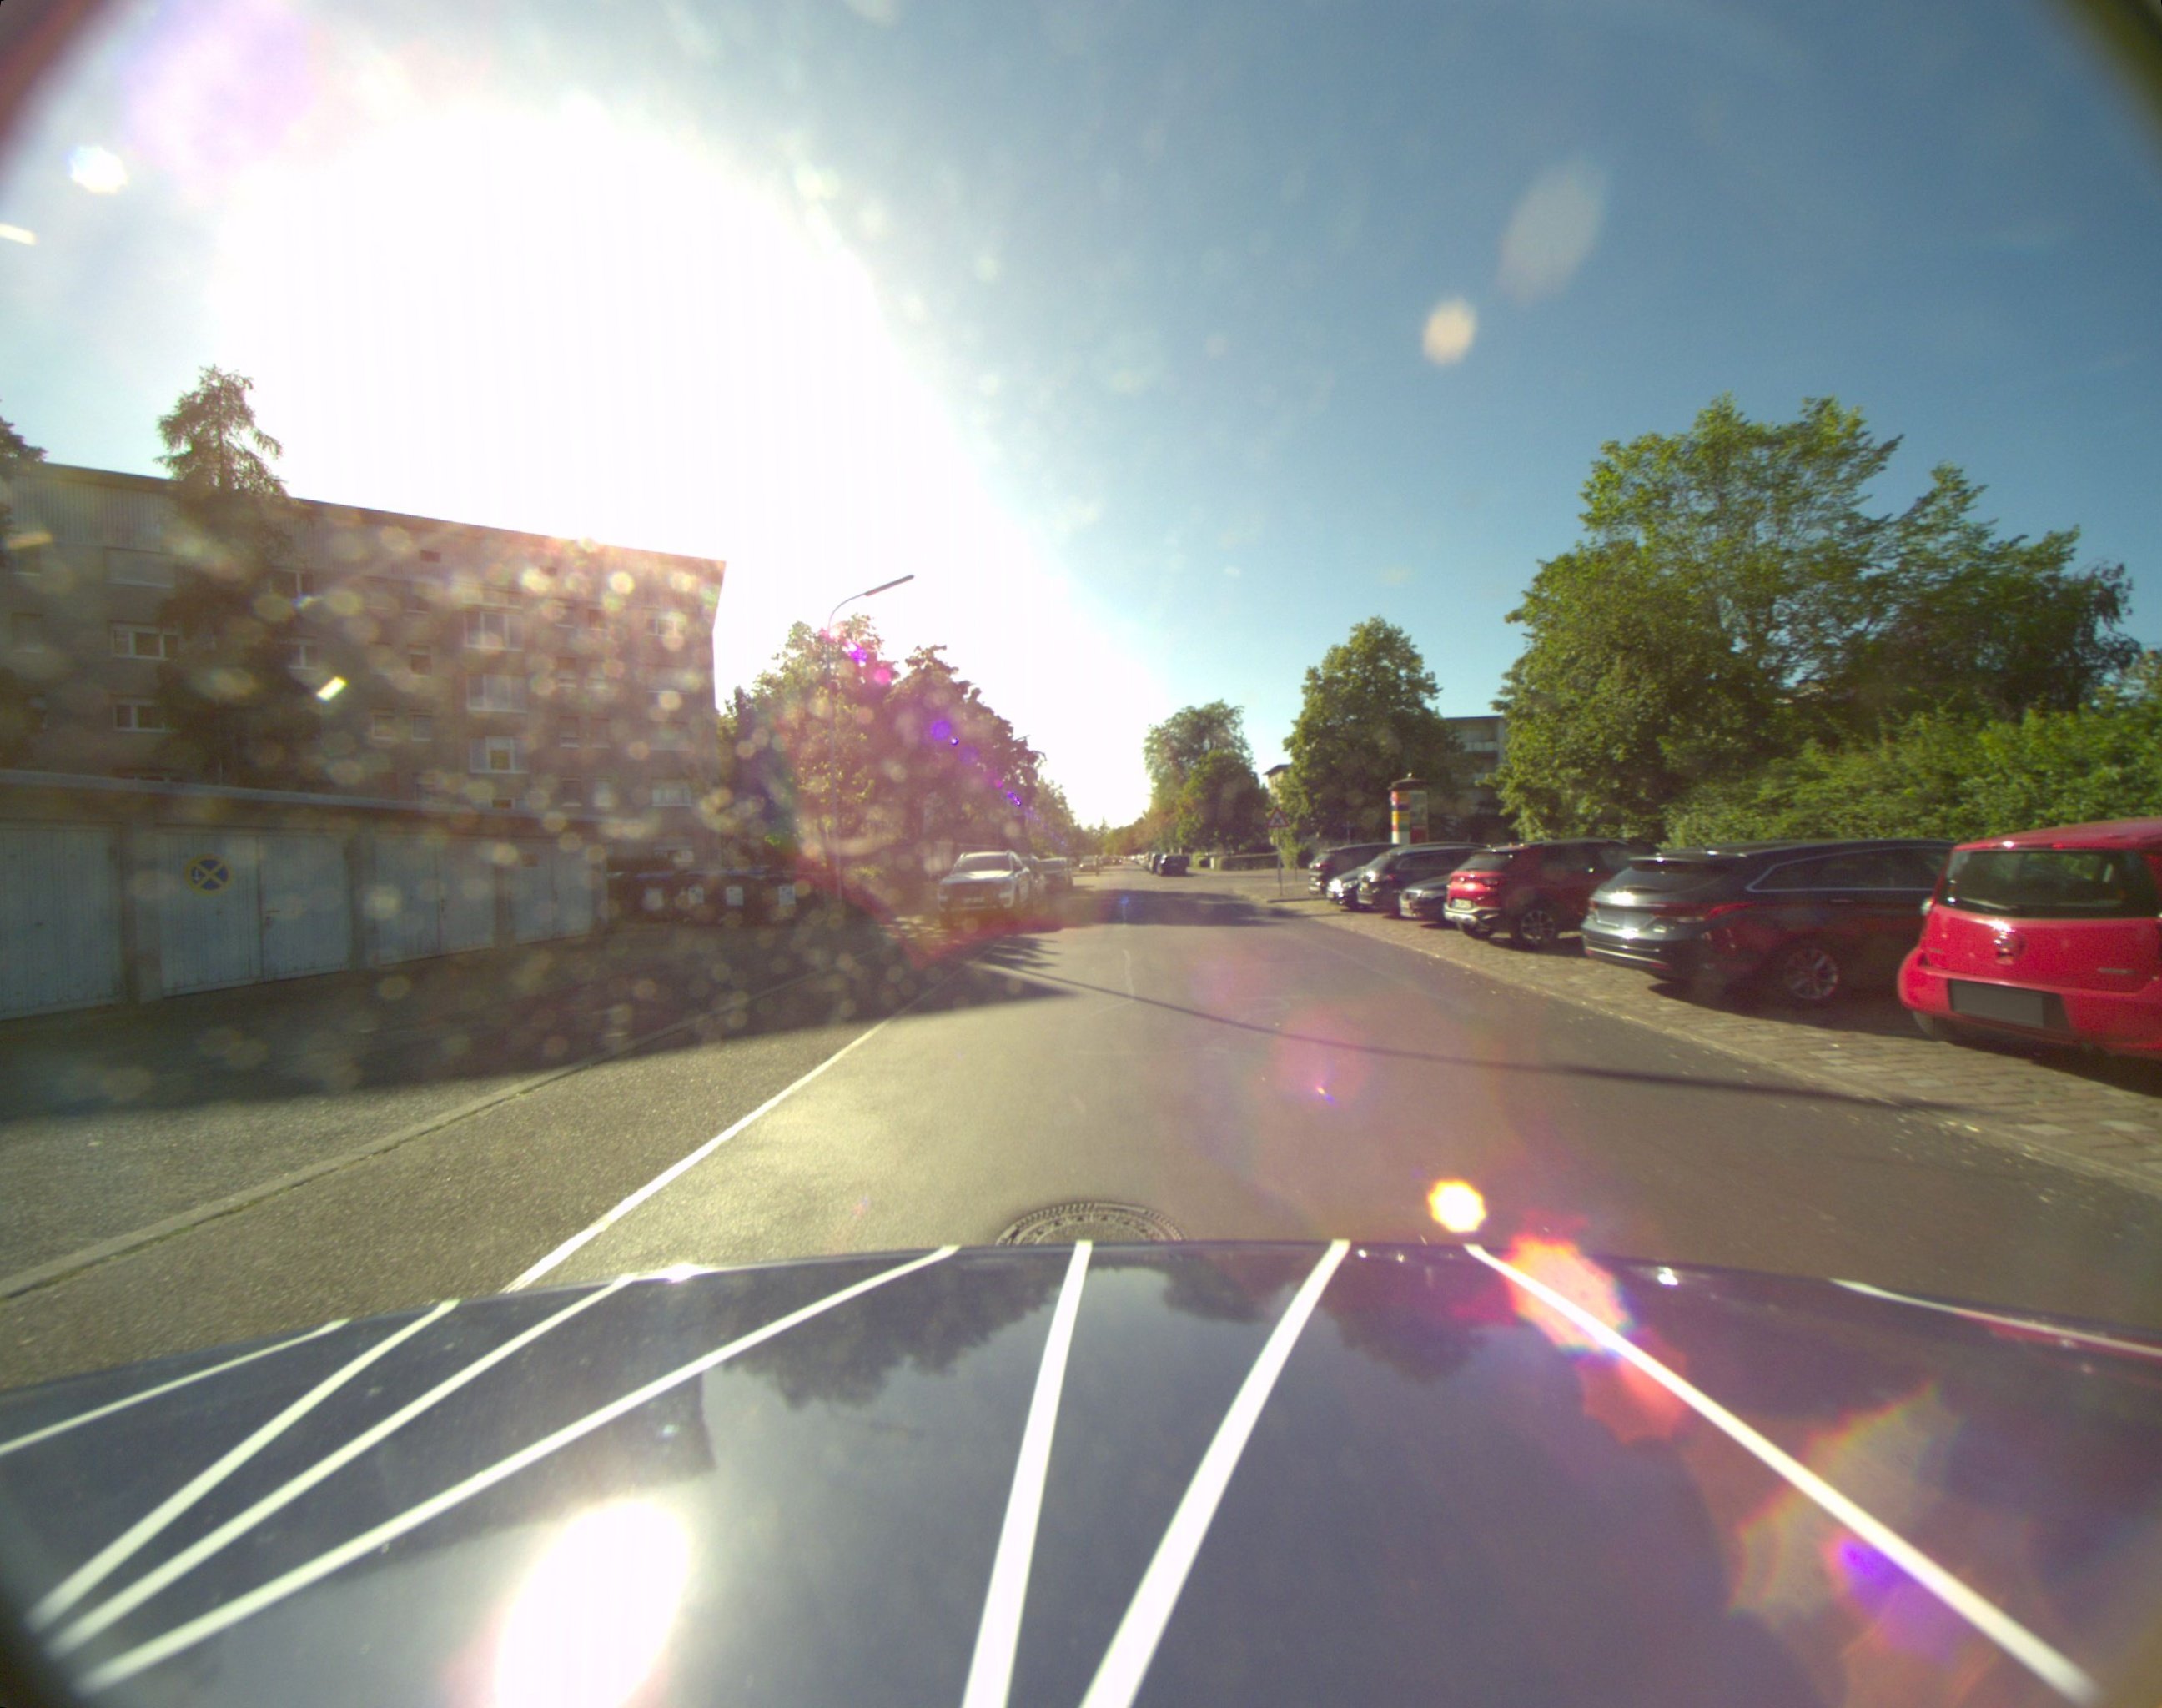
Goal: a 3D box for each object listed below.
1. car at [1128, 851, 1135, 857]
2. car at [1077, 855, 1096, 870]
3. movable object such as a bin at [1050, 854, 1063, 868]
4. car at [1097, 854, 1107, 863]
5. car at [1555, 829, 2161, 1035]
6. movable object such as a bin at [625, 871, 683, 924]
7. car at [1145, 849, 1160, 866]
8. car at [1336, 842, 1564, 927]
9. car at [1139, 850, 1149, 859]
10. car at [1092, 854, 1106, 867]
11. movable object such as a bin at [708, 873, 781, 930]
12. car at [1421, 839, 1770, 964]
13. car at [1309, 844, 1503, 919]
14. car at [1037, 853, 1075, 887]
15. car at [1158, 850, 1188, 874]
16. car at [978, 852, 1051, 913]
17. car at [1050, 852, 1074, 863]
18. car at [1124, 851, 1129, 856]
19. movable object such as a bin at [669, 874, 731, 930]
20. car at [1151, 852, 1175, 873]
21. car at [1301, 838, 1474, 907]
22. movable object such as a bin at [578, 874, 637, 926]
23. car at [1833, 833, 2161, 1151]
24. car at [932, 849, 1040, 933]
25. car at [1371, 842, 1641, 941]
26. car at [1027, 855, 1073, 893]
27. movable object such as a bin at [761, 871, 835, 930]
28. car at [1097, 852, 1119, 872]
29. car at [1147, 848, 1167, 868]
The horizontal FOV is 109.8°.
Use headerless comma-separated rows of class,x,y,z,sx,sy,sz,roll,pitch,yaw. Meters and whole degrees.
car,12.584,0.012,190.388,1.632,1.619,3.556,0,0,3
car,0.589,0.910,80.256,1.732,1.462,3.813,-3,0,3
movable object such as a bin,-2.459,0.702,76.957,1.277,1.433,1.180,0,1,1
car,3.855,0.759,138.593,1.732,1.586,3.813,-3,0,3
car,7.425,0.668,7.276,4.554,1.470,1.748,-4,0,2
movable object such as a bin,-12.058,1.225,21.504,1.078,1.409,0.833,-2,2,8
car,8.734,0.421,93.131,1.732,1.941,3.813,0,0,3
car,8.020,0.636,16.802,4.102,1.504,1.812,-4,1,1
car,10.858,0.085,131.881,1.632,1.619,3.556,0,0,3
car,2.423,0.869,103.400,1.732,1.586,3.813,-3,0,3
movable object such as a bin,-8.516,1.187,19.276,1.252,1.339,1.054,-2,2,14
car,7.556,0.665,11.438,3.998,1.470,1.790,-4,0,-2
car,8.028,0.644,19.034,3.997,1.524,1.831,-4,1,1
car,-1.293,0.809,40.862,1.772,1.601,4.371,-2,2,1
car,6.513,0.565,54.116,1.784,1.564,4.425,-2,0,3
car,-2.171,0.917,25.997,1.838,1.780,4.556,-4,-1,2
car,-2.950,0.573,116.941,3.504,1.499,1.602,-4,1,-3
car,15.430,-0.310,258.648,1.632,1.629,3.566,0,0,3
movable object such as a bin,-9.865,1.236,19.713,1.077,1.339,0.865,-2,2,14
car,6.862,0.710,64.105,1.817,1.672,3.649,0,0,3
car,8.774,0.494,22.021,4.197,1.646,1.846,-4,1,0
movable object such as a bin,-13.491,1.306,21.682,1.078,1.409,0.833,-2,2,8
car,7.403,0.651,4.638,3.610,1.558,1.882,-4,0,2
car,-2.326,0.877,20.124,1.911,1.829,5.275,-4,-1,2
car,7.980,0.667,14.575,4.029,1.504,1.905,-4,1,1
car,-1.425,0.916,36.233,1.808,1.584,4.024,-4,0,2
movable object such as a bin,-6.950,1.139,18.710,1.252,1.339,1.054,-2,2,14
car,2.251,0.654,63.229,1.732,1.586,3.813,-3,0,3
car,7.772,0.400,78.070,1.909,1.930,4.512,0,0,3
